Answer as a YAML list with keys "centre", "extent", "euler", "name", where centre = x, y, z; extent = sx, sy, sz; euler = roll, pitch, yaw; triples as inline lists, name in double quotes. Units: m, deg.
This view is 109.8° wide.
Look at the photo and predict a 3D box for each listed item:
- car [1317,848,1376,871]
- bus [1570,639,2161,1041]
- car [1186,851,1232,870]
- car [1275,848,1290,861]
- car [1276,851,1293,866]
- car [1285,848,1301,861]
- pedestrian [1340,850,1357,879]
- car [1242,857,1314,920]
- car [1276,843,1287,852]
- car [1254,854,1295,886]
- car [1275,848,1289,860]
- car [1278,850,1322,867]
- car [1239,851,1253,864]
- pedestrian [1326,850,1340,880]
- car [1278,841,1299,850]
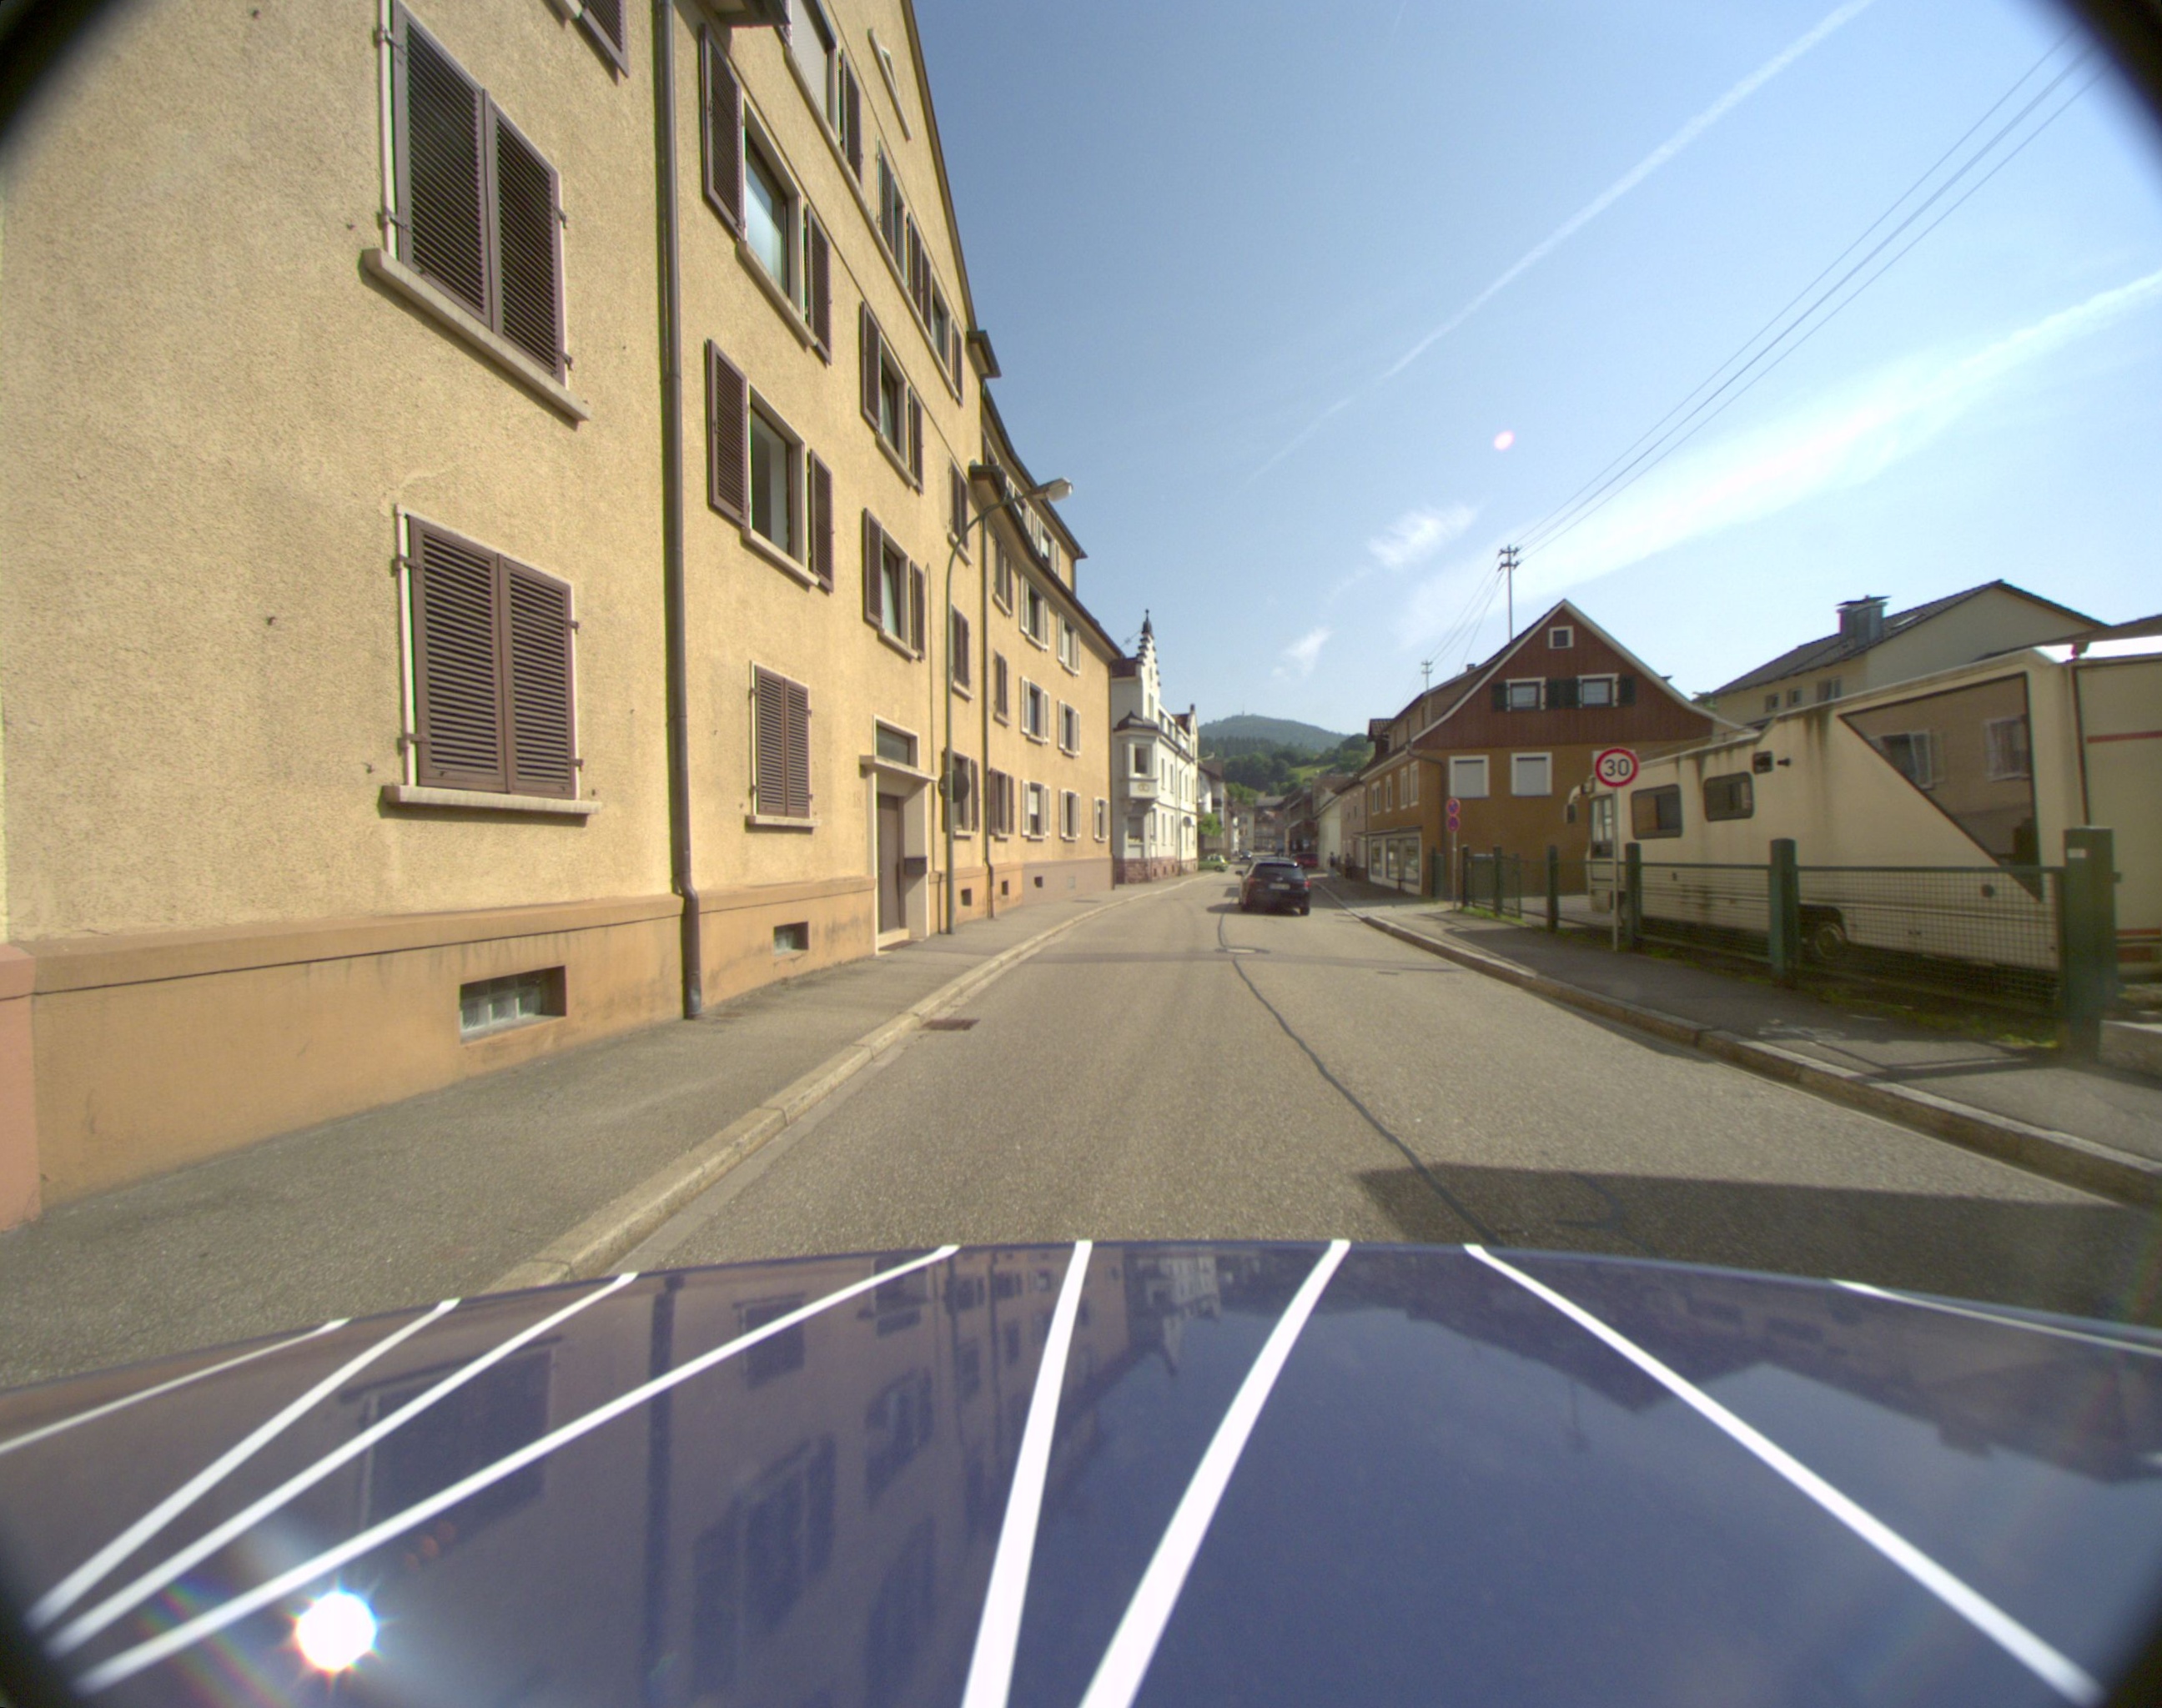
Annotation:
- centre: [20.129, 0.410, 57.687]
  extent: [3.993, 1.584, 1.909]
  euler: [-2, 0, 11]
  name: "car"
- centre: [10.314, -0.182, 10.361]
  extent: [2.825, 3.209, 9.043]
  euler: [-3, 0, 11]
  name: "bus"
- centre: [11.244, 0.564, 66.711]
  extent: [3.649, 1.456, 1.605]
  euler: [3, 2, 27]
  name: "car"
- centre: [26.801, 0.072, 101.194]
  extent: [1.677, 1.580, 3.953]
  euler: [-1, 0, 12]
  name: "car"
- centre: [25.386, 0.526, 95.032]
  extent: [1.723, 1.786, 4.272]
  euler: [-1, 0, 11]
  name: "car"
- centre: [25.214, 0.093, 90.290]
  extent: [1.669, 1.423, 3.572]
  euler: [-2, -1, 14]
  name: "car"
- centre: [14.675, 0.570, 41.680]
  extent: [0.736, 1.555, 0.825]
  euler: [-2, 0, 14]
  name: "pedestrian"
- centre: [5.369, 0.871, 21.163]
  extent: [1.661, 1.441, 4.262]
  euler: [3, 1, 11]
  name: "car"
- centre: [39.036, -1.210, 148.179]
  extent: [1.785, 1.566, 3.892]
  euler: [-3, 0, 12]
  name: "car"
- centre: [9.855, 0.779, 38.912]
  extent: [1.750, 1.445, 4.030]
  euler: [3, 1, 11]
  name: "car"
- centre: [28.542, -0.001, 108.008]
  extent: [1.676, 1.546, 3.768]
  euler: [-1, 0, 12]
  name: "car"
- centre: [21.884, 0.476, 75.777]
  extent: [3.990, 1.652, 1.827]
  euler: [-1, -1, 24]
  name: "car"
- centre: [27.077, 0.620, 124.897]
  extent: [1.997, 2.002, 4.002]
  euler: [-2, 1, 10]
  name: "car"
- centre: [13.918, 0.583, 41.966]
  extent: [0.640, 1.617, 0.778]
  euler: [-3, 0, 15]
  name: "pedestrian"
- centre: [42.692, -1.714, 156.444]
  extent: [3.995, 1.674, 1.836]
  euler: [0, -1, 4]
  name: "car"
